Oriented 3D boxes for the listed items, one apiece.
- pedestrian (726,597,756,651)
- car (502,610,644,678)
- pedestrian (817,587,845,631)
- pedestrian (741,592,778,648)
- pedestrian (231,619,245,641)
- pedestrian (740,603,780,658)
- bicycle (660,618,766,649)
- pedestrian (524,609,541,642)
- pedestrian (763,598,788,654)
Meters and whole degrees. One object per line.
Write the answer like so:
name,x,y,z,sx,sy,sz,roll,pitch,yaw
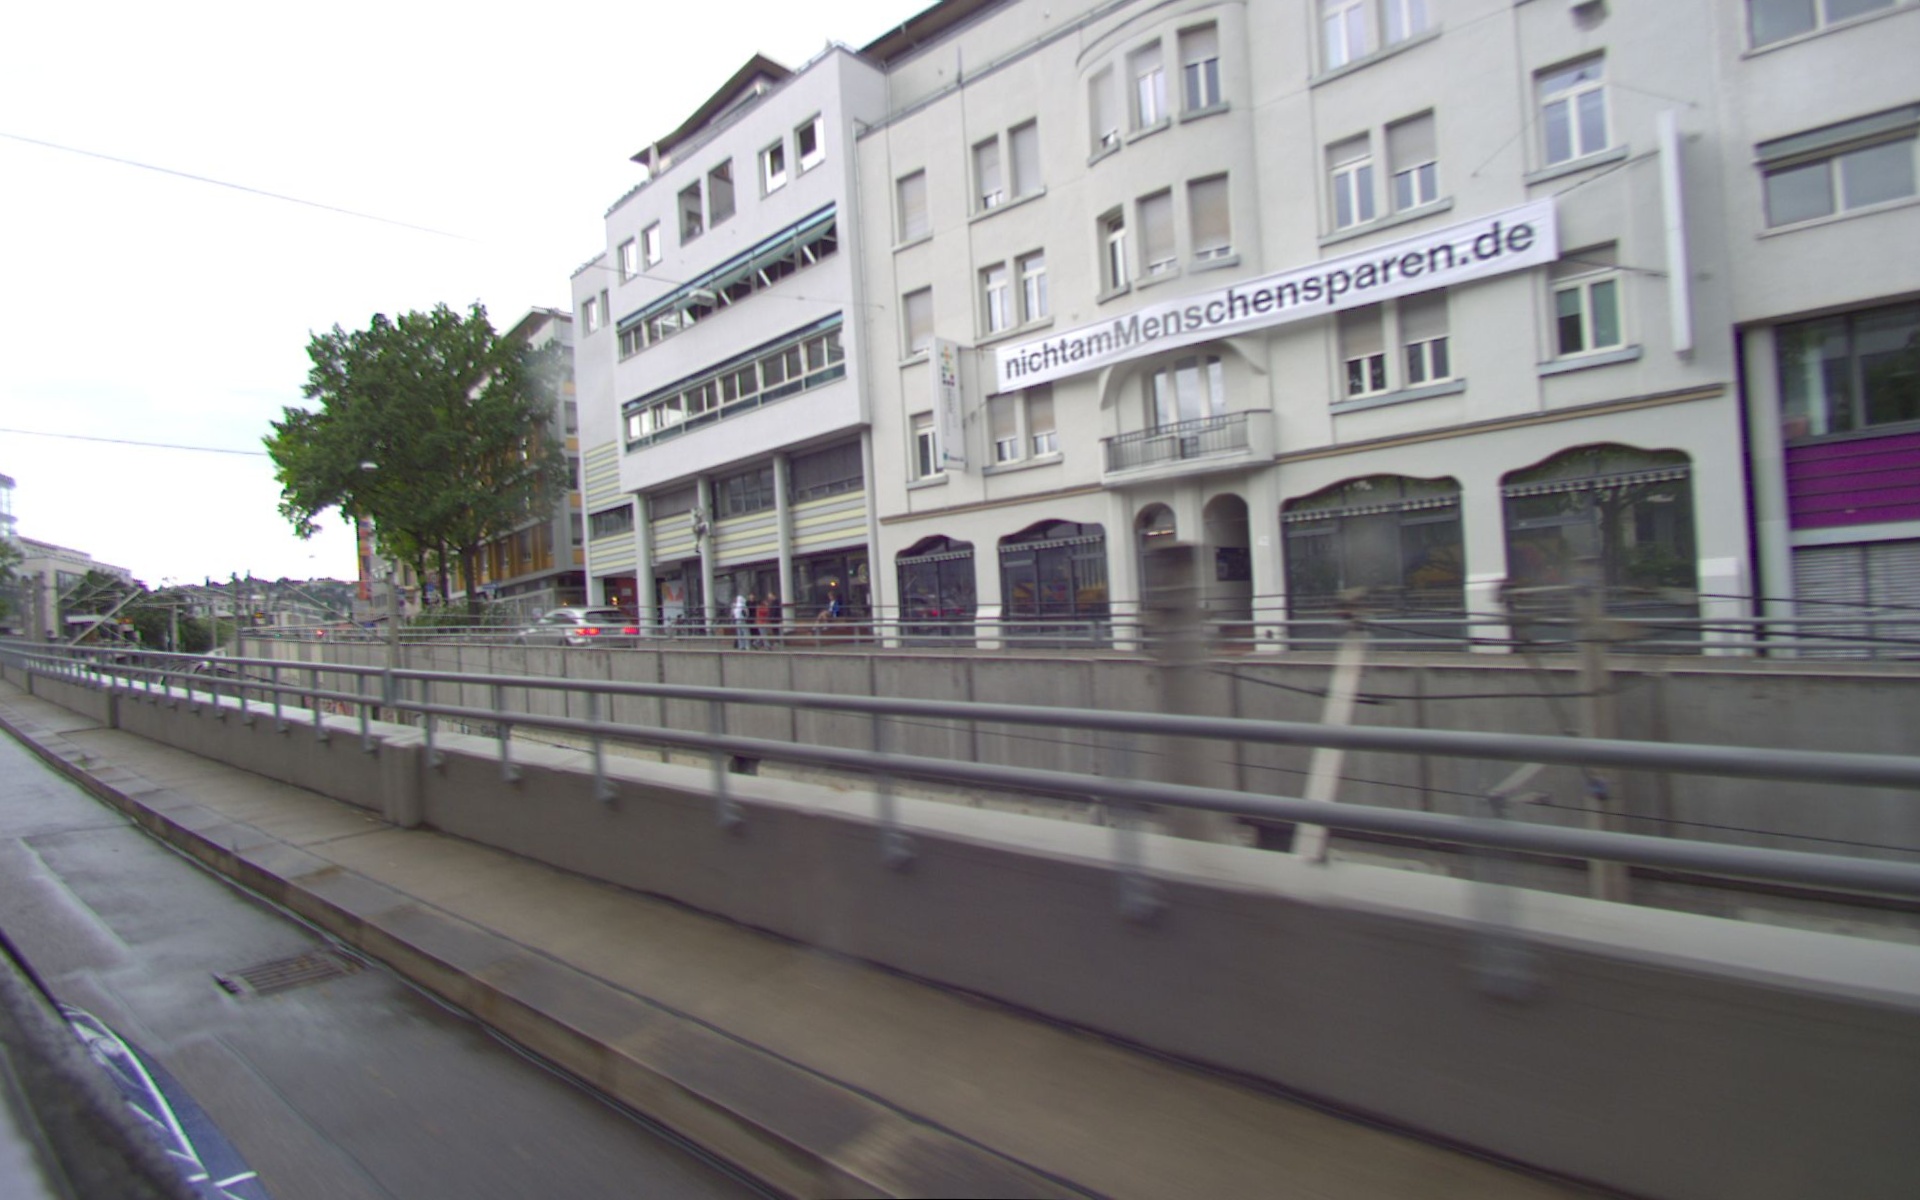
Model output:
pedestrian,-6.942,0.758,32.112,0.783,1.655,0.674,-3,0,-3
car,-10.894,1.224,28.347,4.576,1.726,1.817,-3,-1,42
pedestrian,-4.344,0.308,34.061,0.600,1.430,0.674,-2,0,-45
pedestrian,-6.622,0.658,33.454,0.937,1.798,0.668,-3,0,26
pedestrian,-56.337,2.370,78.983,0.668,1.661,0.898,3,-5,-29
pedestrian,-6.151,0.924,31.087,0.937,1.628,0.668,-3,0,26
bicycle,-9.210,1.245,37.502,4.524,1.051,1.674,-2,-1,45
pedestrian,-24.128,1.437,57.088,0.657,1.863,0.831,0,-3,-40
pedestrian,-5.946,0.827,32.624,0.601,1.735,0.673,-3,0,1
